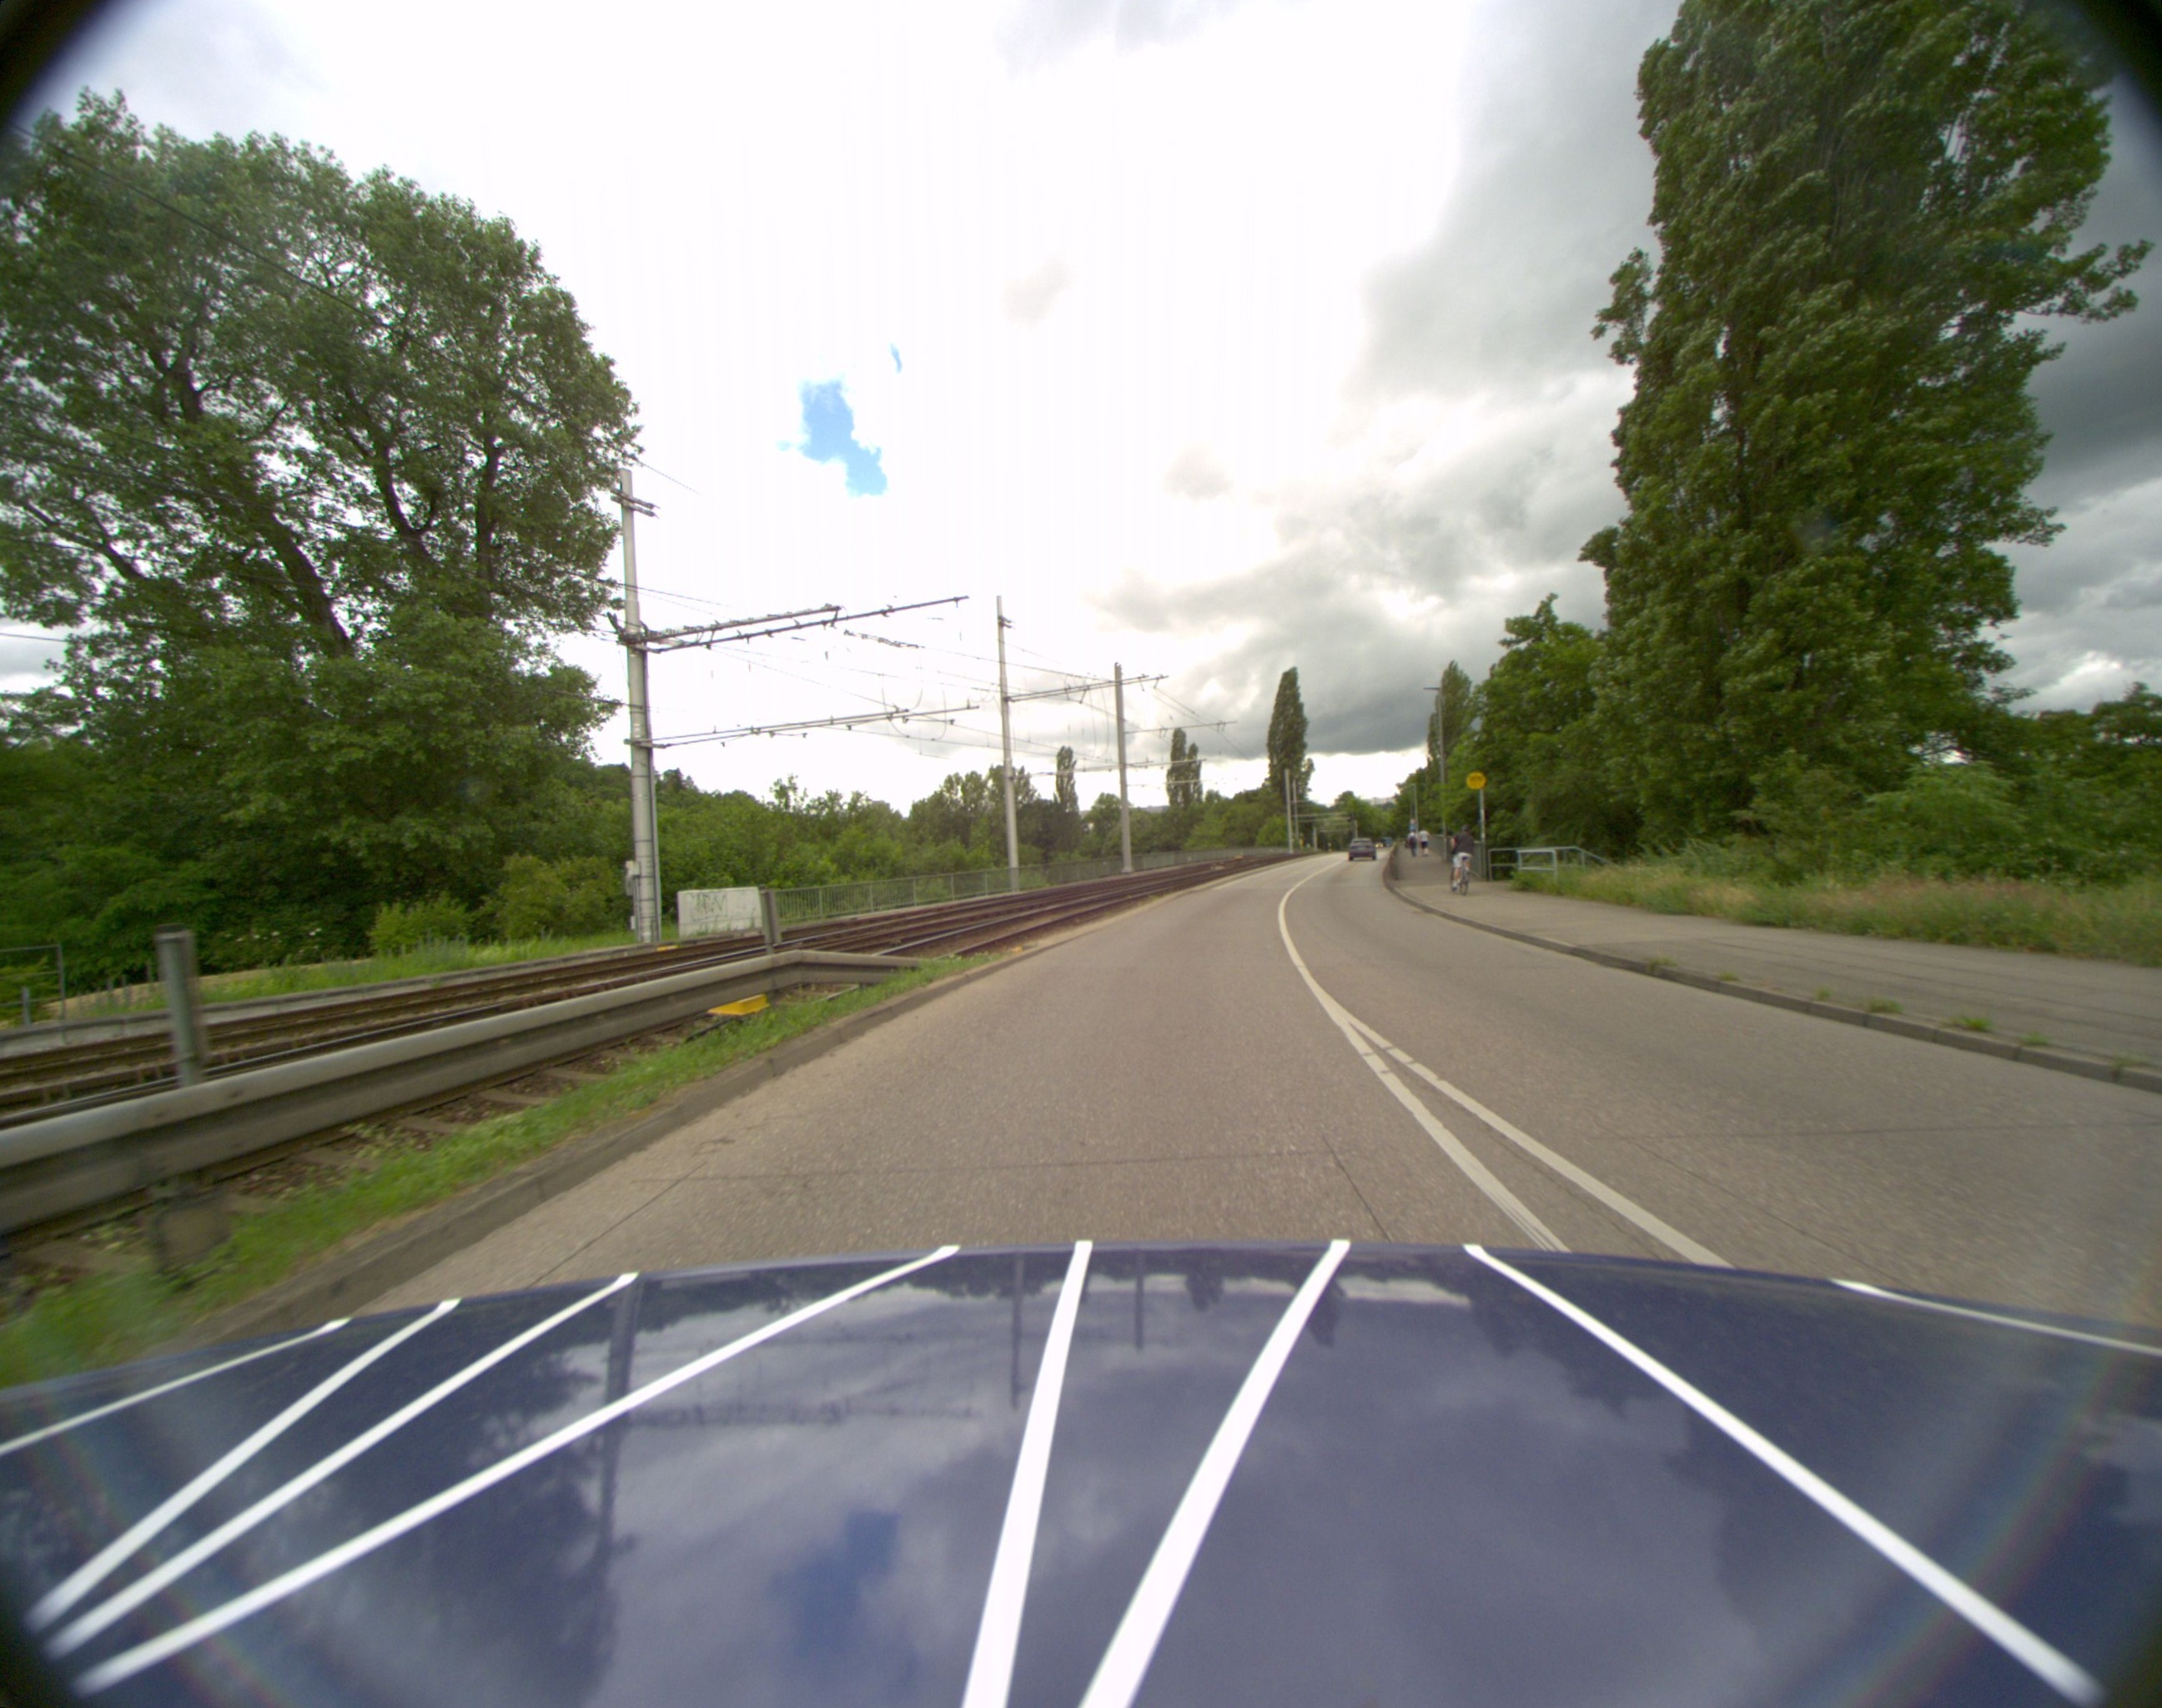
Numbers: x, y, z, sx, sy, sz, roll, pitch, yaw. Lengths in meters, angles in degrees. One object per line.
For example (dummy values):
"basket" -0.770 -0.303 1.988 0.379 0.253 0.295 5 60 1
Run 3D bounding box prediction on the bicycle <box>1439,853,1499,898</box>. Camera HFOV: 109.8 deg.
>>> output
"bicycle" 10.215 0.538 20.097 0.737 1.065 1.882 -4 0 6

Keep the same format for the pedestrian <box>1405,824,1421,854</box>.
"pedestrian" 20.407 -0.930 46.671 0.780 1.817 0.727 -4 1 24

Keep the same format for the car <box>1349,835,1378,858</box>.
"car" 19.301 -0.521 51.799 1.717 1.460 3.946 -1 2 22

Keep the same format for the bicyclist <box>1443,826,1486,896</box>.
"bicyclist" 10.173 0.174 20.192 0.628 1.798 0.901 -4 1 6

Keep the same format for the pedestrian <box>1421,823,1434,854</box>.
"pedestrian" 20.960 -0.951 45.931 0.605 1.817 0.556 -4 1 24
